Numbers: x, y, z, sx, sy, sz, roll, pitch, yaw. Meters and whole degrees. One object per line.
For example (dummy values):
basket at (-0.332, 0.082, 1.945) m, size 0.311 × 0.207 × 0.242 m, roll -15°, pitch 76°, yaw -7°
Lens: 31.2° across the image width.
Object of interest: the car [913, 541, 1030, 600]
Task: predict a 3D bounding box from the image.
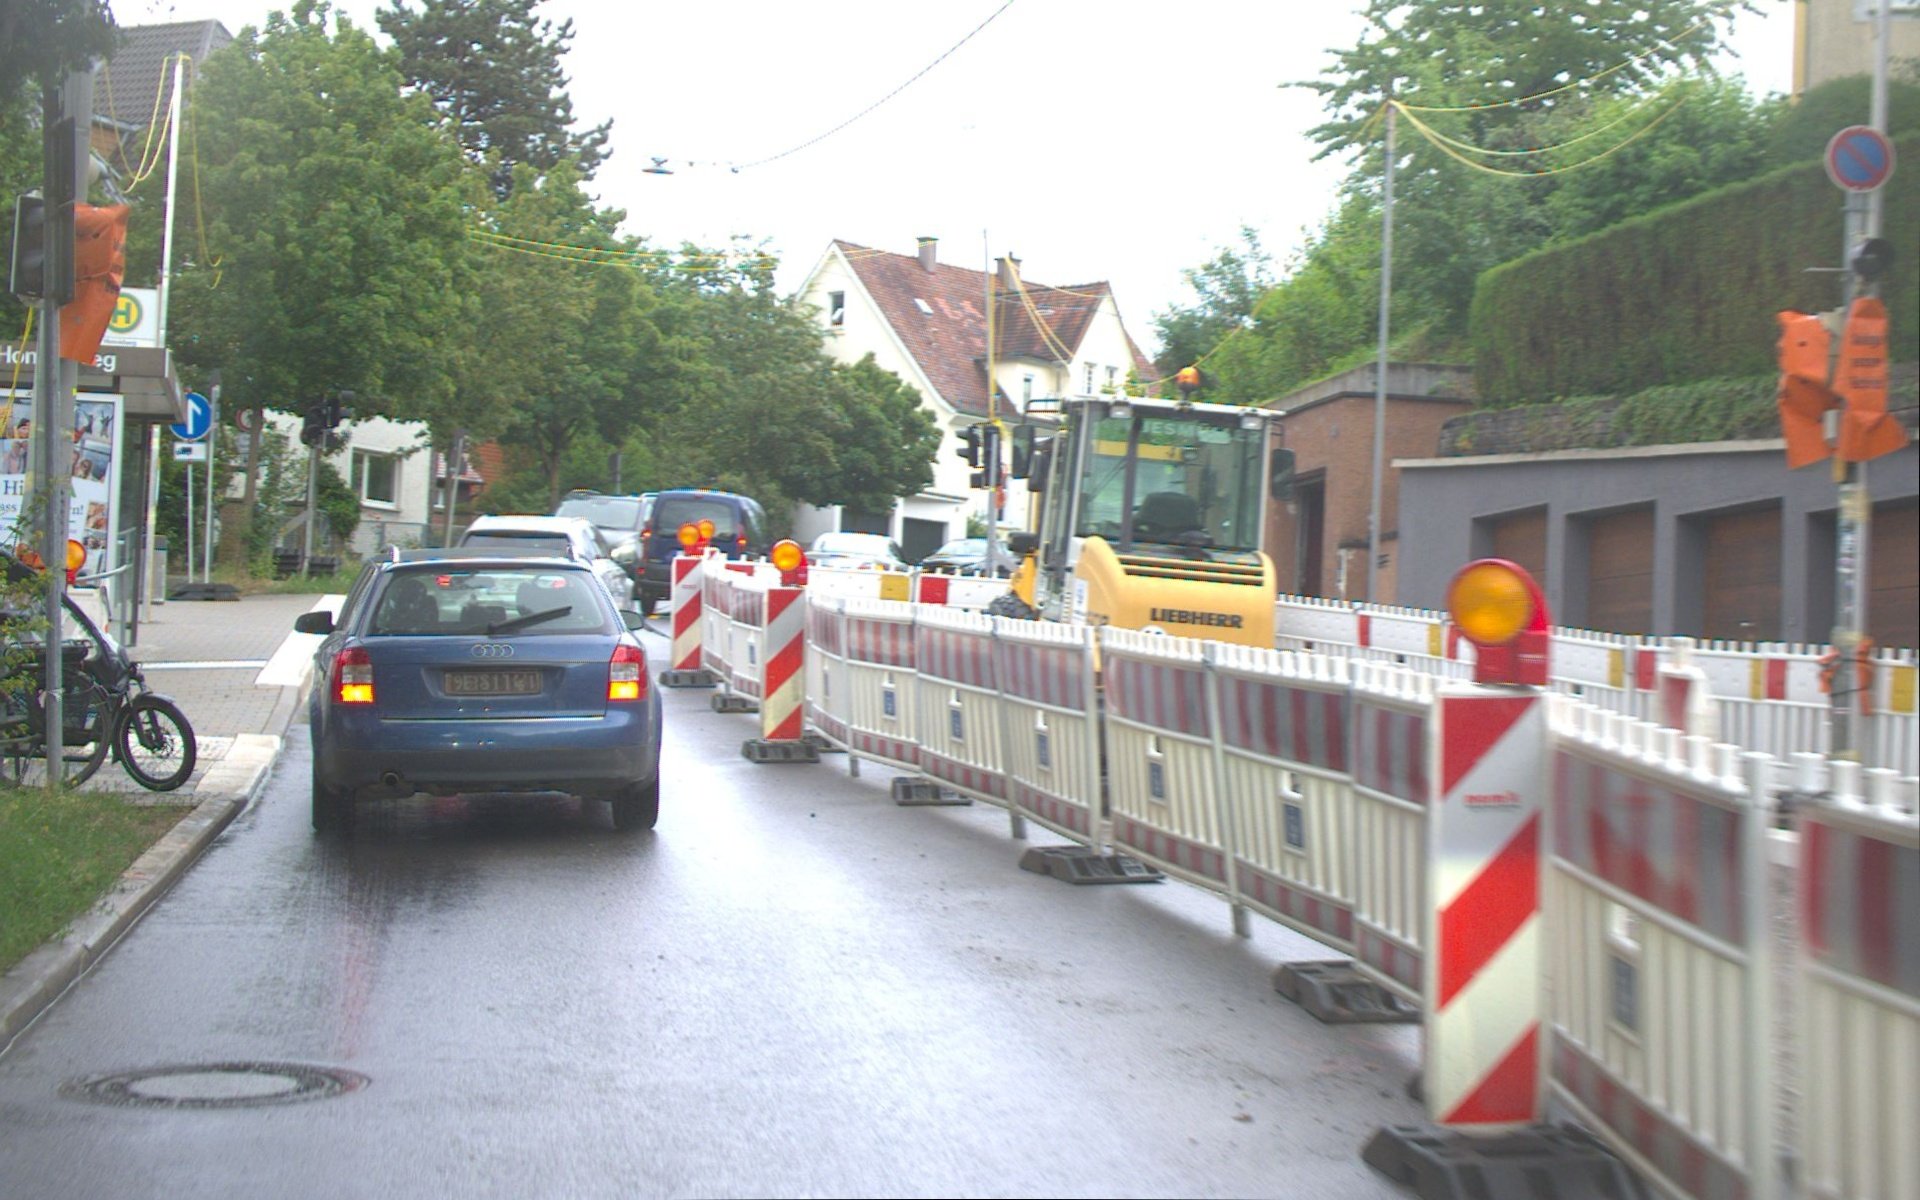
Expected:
car at (0.326, -0.757, 89.618) m, size 1.672 × 1.461 × 3.890 m, roll 1°, pitch 0°, yaw 22°

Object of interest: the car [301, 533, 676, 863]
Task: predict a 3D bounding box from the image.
car at (-2.606, 0.420, 18.289) m, size 1.733 × 1.461 × 4.002 m, roll 0°, pitch 2°, yaw -11°

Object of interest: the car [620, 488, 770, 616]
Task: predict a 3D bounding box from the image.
car at (-3.882, -0.744, 50.877) m, size 1.733 × 1.762 × 4.235 m, roll 0°, pitch 2°, yaw 2°

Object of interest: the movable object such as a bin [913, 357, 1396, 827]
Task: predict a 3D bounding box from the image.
movable object such as a bin at (1.177, -0.009, 24.026) m, size 2.086 × 2.829 × 5.678 m, roll 2°, pitch -1°, yaw -9°

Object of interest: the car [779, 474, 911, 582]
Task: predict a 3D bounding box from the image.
car at (-2.028, -1.268, 61.689) m, size 1.734 × 1.763 × 4.234 m, roll 4°, pitch 1°, yaw 5°

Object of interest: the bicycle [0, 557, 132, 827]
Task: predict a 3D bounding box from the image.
bicycle at (-5.145, 0.447, 17.608) m, size 1.690 × 1.341 × 0.419 m, roll 3°, pitch 2°, yaw -15°

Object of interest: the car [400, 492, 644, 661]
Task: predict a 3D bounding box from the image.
car at (-4.560, -0.299, 36.393) m, size 1.975 × 1.629 × 4.235 m, roll 0°, pitch 2°, yaw 1°

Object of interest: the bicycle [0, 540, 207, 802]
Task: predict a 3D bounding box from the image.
bicycle at (-5.156, 0.362, 18.201) m, size 2.228 × 1.357 × 0.810 m, roll 1°, pitch 0°, yaw -15°

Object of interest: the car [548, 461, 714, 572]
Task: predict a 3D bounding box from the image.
car at (-5.905, -1.474, 62.305) m, size 1.897 × 1.883 × 5.151 m, roll 1°, pitch 0°, yaw 7°

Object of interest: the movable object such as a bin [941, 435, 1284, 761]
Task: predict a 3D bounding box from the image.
movable object such as a bin at (1.345, -0.109, 33.337) m, size 2.086 × 2.828 × 5.679 m, roll 2°, pitch 2°, yaw -9°

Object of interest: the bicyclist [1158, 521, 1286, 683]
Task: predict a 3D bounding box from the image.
bicyclist at (2.898, 0.022, 38.014) m, size 1.075 × 1.722 × 0.932 m, roll 3°, pitch 0°, yaw 25°
